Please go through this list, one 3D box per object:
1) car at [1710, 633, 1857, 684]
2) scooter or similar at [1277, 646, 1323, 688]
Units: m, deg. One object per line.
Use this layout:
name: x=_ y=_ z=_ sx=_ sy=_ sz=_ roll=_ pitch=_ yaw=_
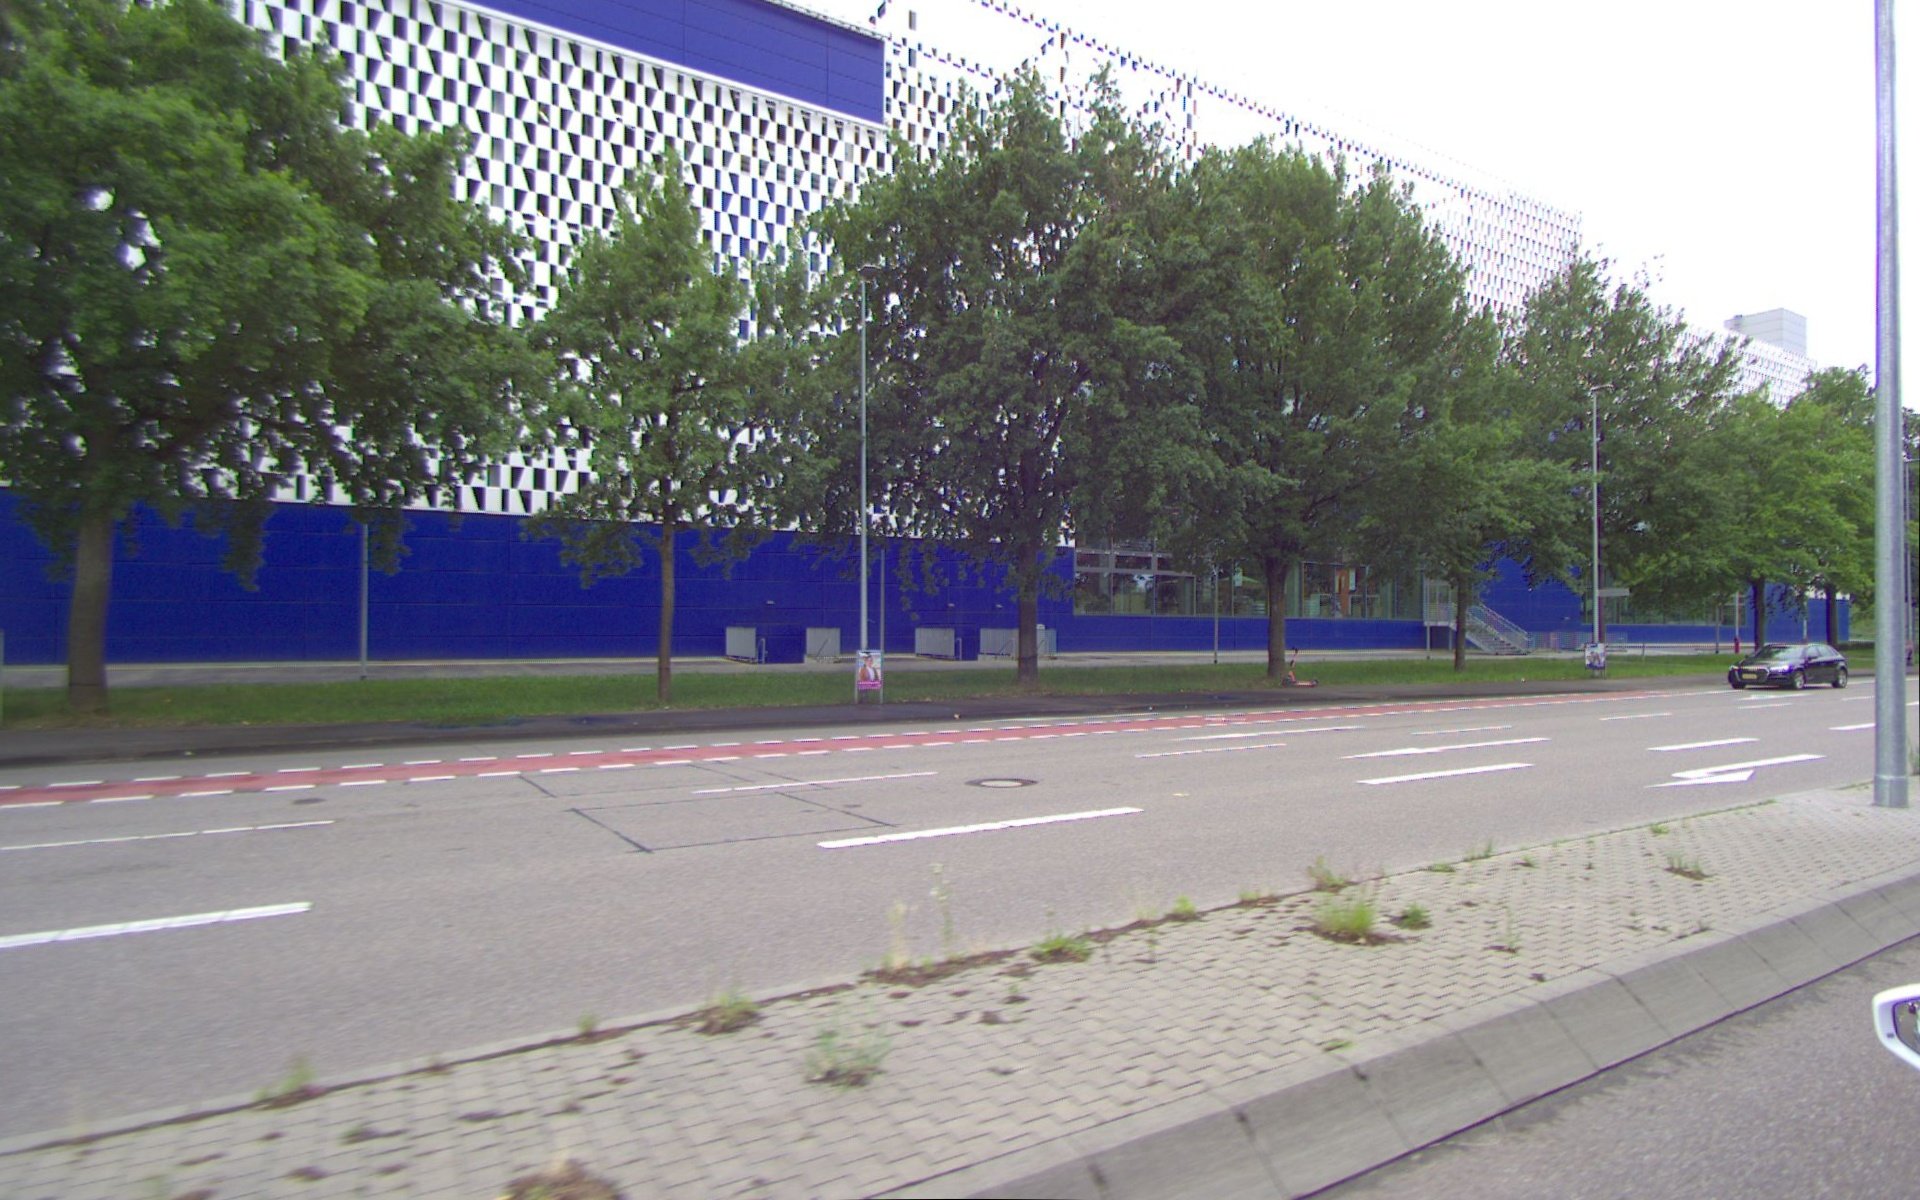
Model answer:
car: x=26.005 y=1.858 z=31.728 sx=4.193 sy=1.521 sz=1.913 roll=1 pitch=-4 yaw=-24
scooter or similar: x=10.507 y=2.048 z=31.058 sx=1.363 sy=1.212 sz=0.651 roll=0 pitch=0 yaw=-33
